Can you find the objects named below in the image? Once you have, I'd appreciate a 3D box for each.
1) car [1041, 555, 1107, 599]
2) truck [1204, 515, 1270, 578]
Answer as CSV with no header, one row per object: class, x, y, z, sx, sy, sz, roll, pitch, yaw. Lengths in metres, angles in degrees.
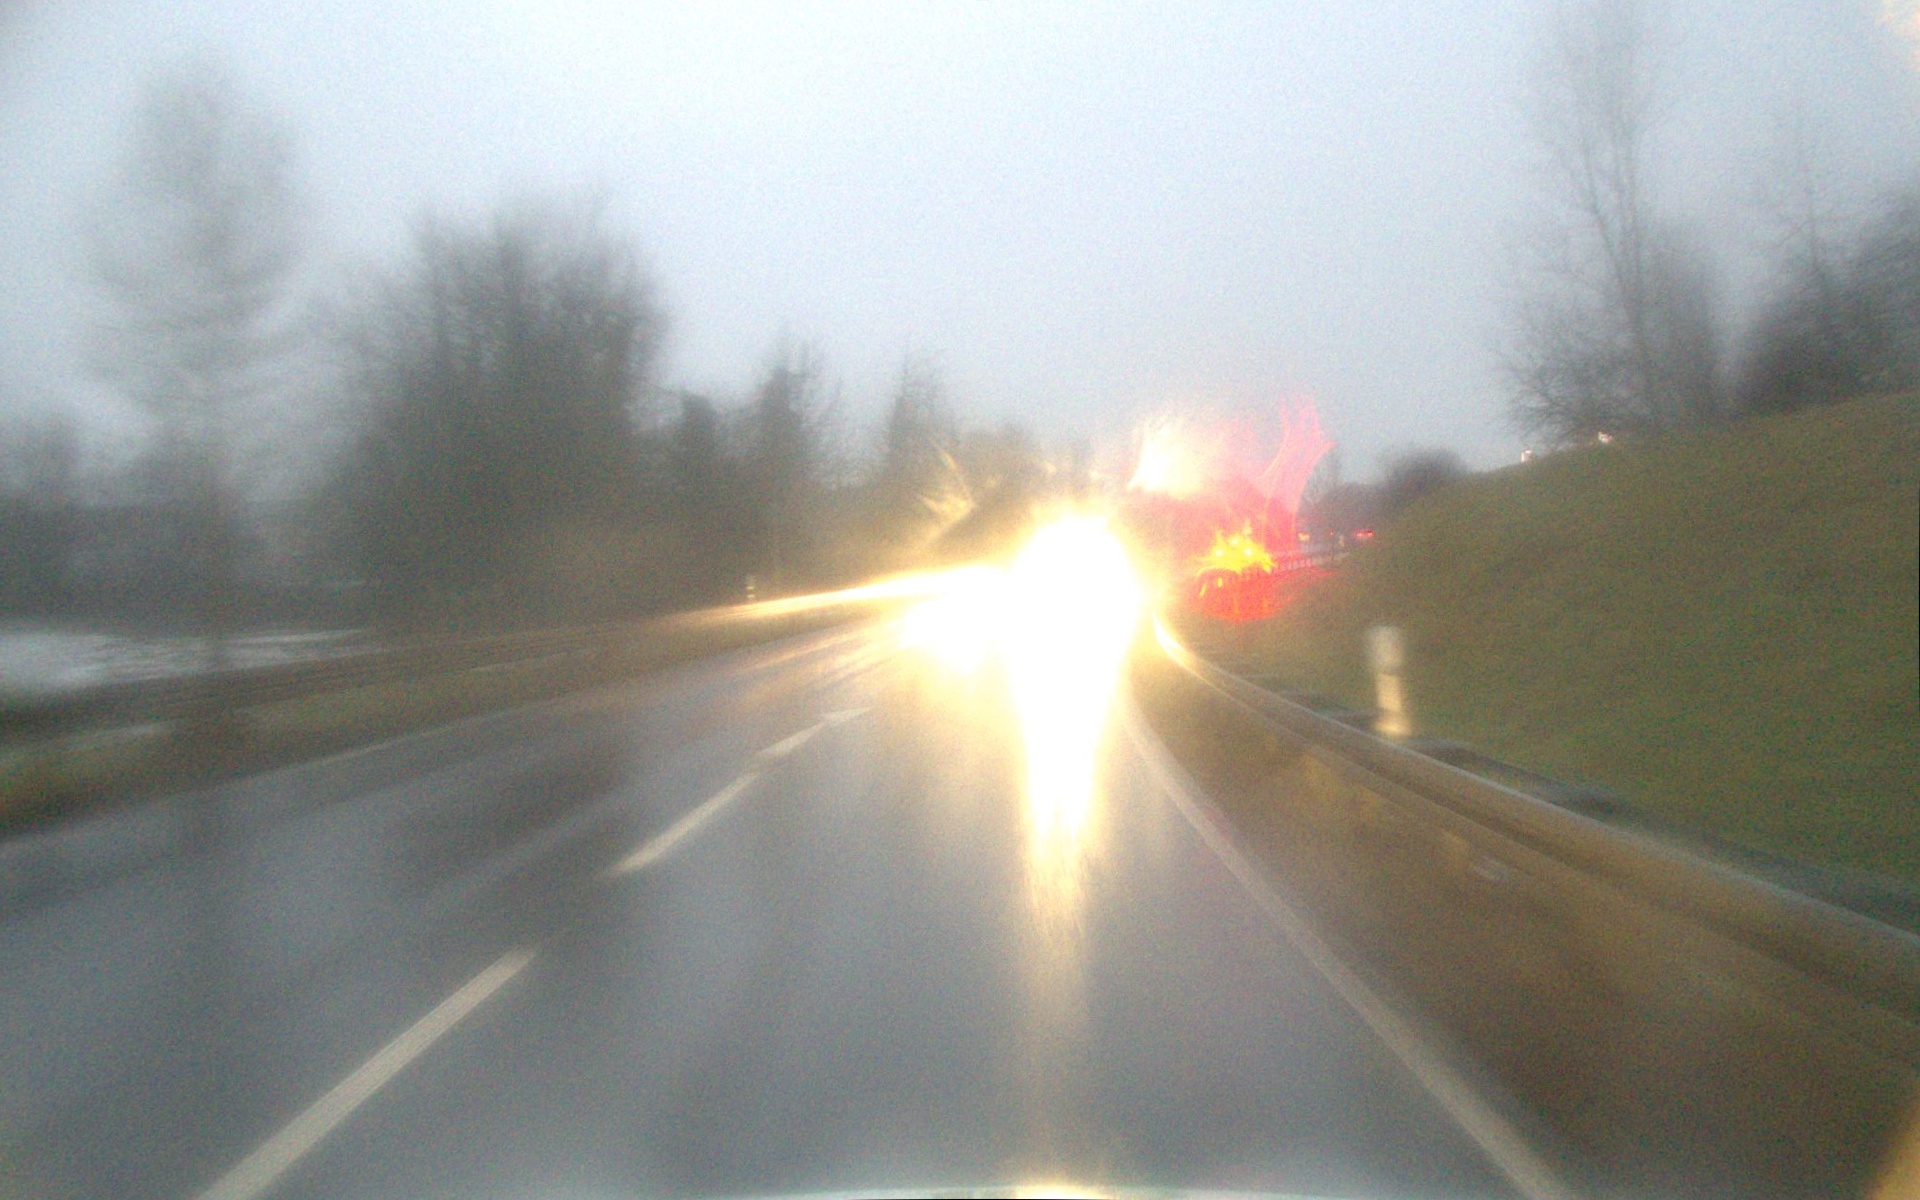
car,4.663,-0.942,67.173,1.951,1.649,4.602,3,1,12
truck,13.897,-2.719,82.661,2.478,2.918,5.927,-2,2,17
